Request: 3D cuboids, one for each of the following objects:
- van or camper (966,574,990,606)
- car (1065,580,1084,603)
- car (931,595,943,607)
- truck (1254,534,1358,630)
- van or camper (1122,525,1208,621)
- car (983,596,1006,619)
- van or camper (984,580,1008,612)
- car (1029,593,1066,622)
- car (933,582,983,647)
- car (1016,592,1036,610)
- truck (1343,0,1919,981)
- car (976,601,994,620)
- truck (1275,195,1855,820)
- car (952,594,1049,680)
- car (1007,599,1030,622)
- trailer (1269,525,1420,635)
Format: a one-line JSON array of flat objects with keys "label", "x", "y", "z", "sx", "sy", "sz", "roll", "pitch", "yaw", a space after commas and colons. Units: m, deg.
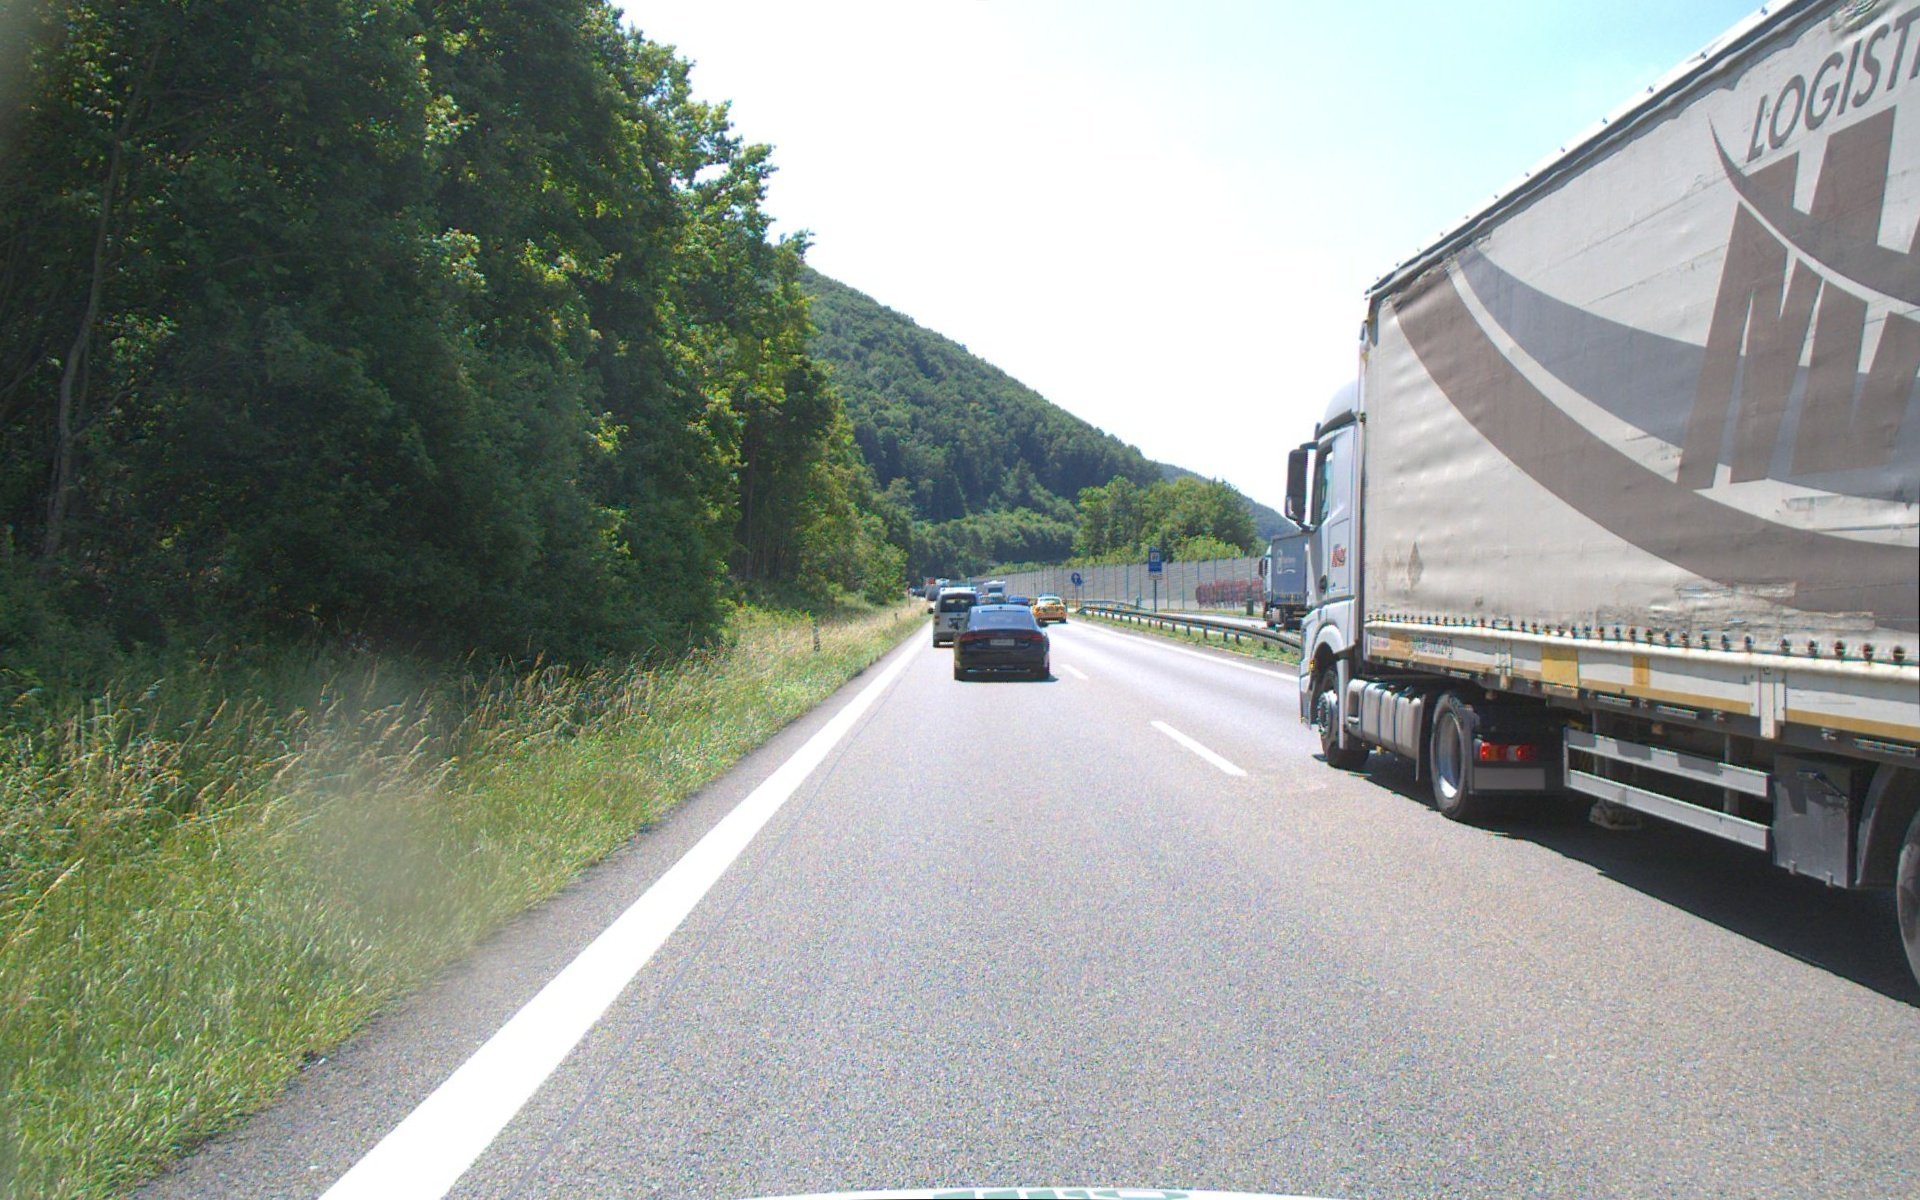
[{"label": "van or camper", "x": 2.326, "y": -1.264, "z": 219.362, "sx": 2.738, "sy": 3.975, "sz": 6.164, "roll": 2, "pitch": -1, "yaw": -2}, {"label": "car", "x": 10.572, "y": -0.771, "z": 152.499, "sx": 1.544, "sy": 2.049, "sz": 3.428, "roll": 0, "pitch": 0, "yaw": 0}, {"label": "car", "x": -2.982, "y": 0.123, "z": 212.680, "sx": 1.458, "sy": 1.522, "sz": 3.589, "roll": 2, "pitch": -1, "yaw": 0}, {"label": "truck", "x": 15.071, "y": -0.772, "z": 72.448, "sx": 3.342, "sy": 3.968, "sz": 5.387, "roll": 1, "pitch": 0, "yaw": -1}, {"label": "van or camper", "x": 8.983, "y": -1.102, "z": 73.044, "sx": 2.738, "sy": 3.908, "sz": 6.164, "roll": 2, "pitch": -1, "yaw": -2}, {"label": "car", "x": 3.298, "y": 0.738, "z": 159.138, "sx": 2.044, "sy": 2.049, "sz": 3.999, "roll": 2, "pitch": -1, "yaw": 0}, {"label": "van or camper", "x": 3.754, "y": -0.411, "z": 173.710, "sx": 2.380, "sy": 3.210, "sz": 5.203, "roll": 2, "pitch": -1, "yaw": 0}, {"label": "car", "x": 4.828, "y": 0.408, "z": 91.525, "sx": 1.840, "sy": 1.525, "sz": 4.000, "roll": 1, "pitch": 0, "yaw": 0}, {"label": "car", "x": -0.089, "y": 0.473, "z": 54.488, "sx": 1.490, "sy": 2.002, "sz": 3.514, "roll": 3, "pitch": 0, "yaw": -1}, {"label": "car", "x": 7.600, "y": 0.148, "z": 190.937, "sx": 1.953, "sy": 2.049, "sz": 3.999, "roll": 1, "pitch": 0, "yaw": -1}, {"label": "truck", "x": 4.738, "y": -0.678, "z": 7.139, "sx": 2.671, "sy": 4.139, "sz": 13.737, "roll": 1, "pitch": -1, "yaw": -1}, {"label": "car", "x": 2.149, "y": 0.939, "z": 144.695, "sx": 1.498, "sy": 1.552, "sz": 3.596, "roll": 2, "pitch": -1, "yaw": 0}, {"label": "truck", "x": 4.629, "y": -0.588, "z": 14.001, "sx": 2.664, "sy": 4.139, "sz": 5.752, "roll": 1, "pitch": -1, "yaw": -1}, {"label": "car", "x": 0.749, "y": 0.684, "z": 32.477, "sx": 1.775, "sy": 1.541, "sz": 3.514, "roll": 1, "pitch": 0, "yaw": 0}, {"label": "car", "x": 4.224, "y": 0.782, "z": 120.343, "sx": 1.498, "sy": 1.552, "sz": 3.596, "roll": 2, "pitch": -1, "yaw": 0}, {"label": "trailer", "x": 15.120, "y": -0.733, "z": 66.167, "sx": 3.342, "sy": 3.968, "sz": 11.150, "roll": 1, "pitch": 0, "yaw": 0}]
